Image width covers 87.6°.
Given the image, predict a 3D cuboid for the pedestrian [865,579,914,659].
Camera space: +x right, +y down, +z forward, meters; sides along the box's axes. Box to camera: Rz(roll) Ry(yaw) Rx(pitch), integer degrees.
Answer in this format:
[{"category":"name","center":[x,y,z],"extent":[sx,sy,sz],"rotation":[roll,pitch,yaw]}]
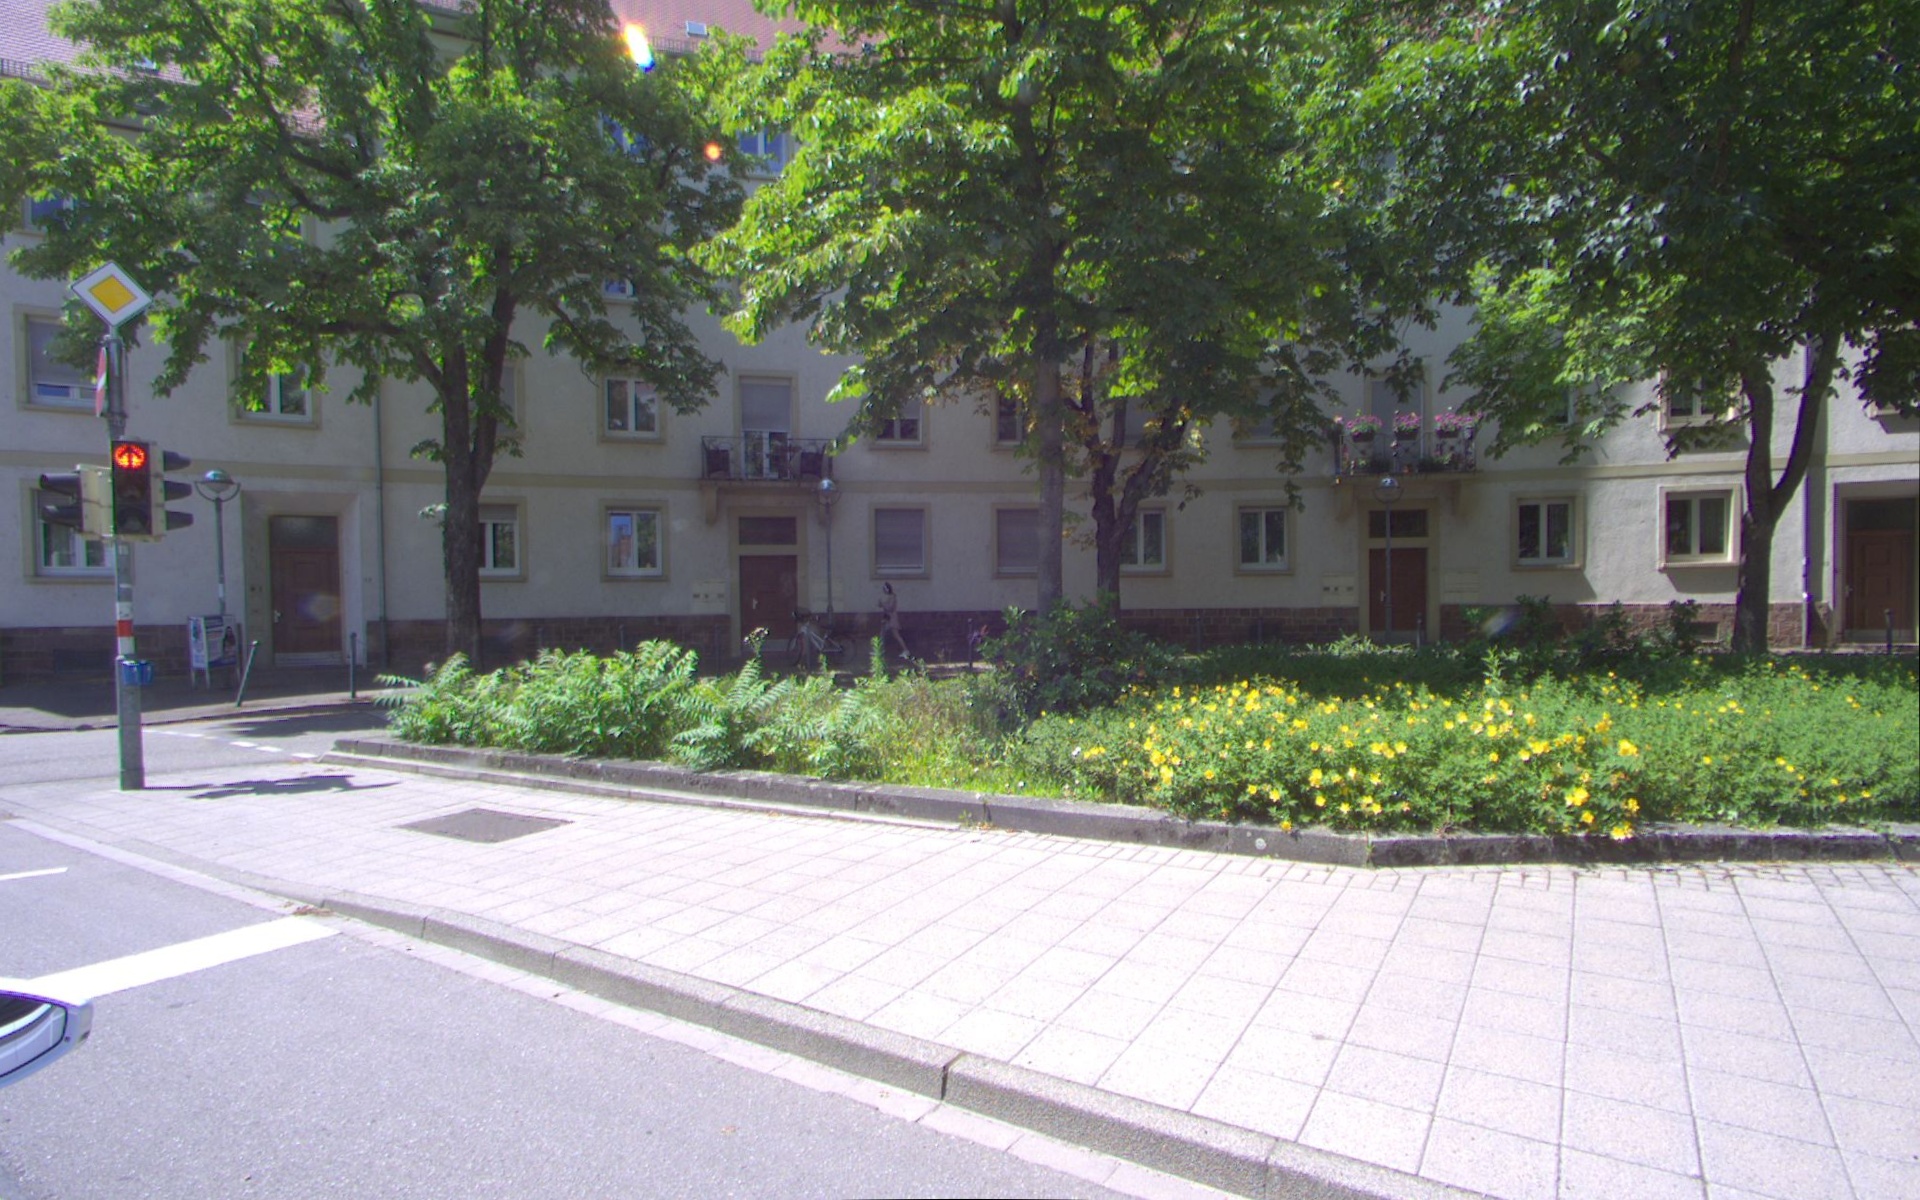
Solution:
[{"category":"pedestrian","center":[-1.596,0.420,22.674],"extent":[1.037,1.715,0.652],"rotation":[-2,6,-8]}]

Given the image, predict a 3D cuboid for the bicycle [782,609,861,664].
[{"category":"bicycle","center":[-2.877,0.752,20.865],"extent":[1.575,1.119,0.525],"rotation":[-1,1,-4]}]
